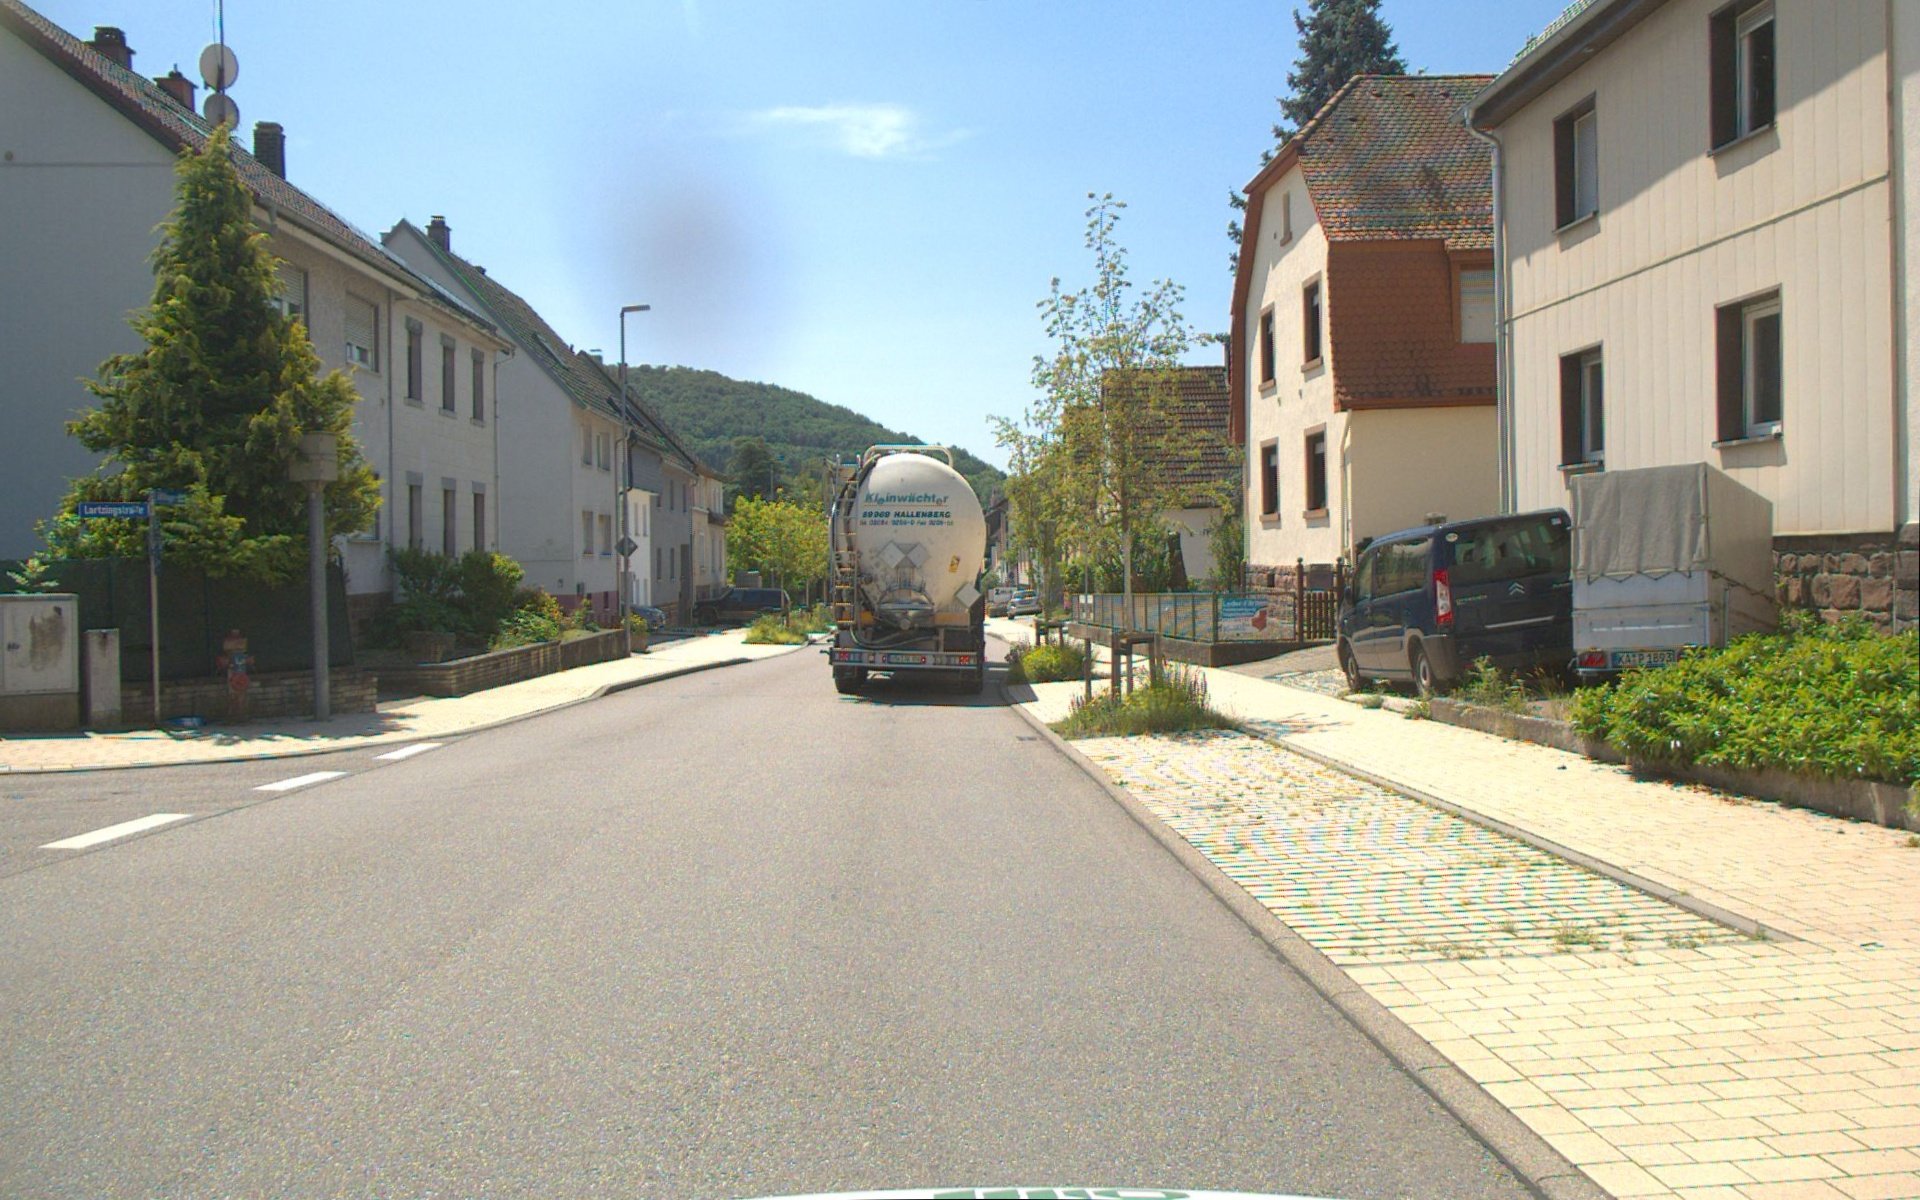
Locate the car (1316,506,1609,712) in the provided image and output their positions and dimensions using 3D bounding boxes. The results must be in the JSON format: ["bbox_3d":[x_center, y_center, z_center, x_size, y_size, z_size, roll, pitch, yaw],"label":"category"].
[{"bbox_3d":[5.774,0.095,19.701,1.815,2.005,4.772,-5,0,-1],"label":"car"}]

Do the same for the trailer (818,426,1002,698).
[{"bbox_3d":[-0.831,-0.576,30.052,2.739,4.071,10.321,0,0,-1],"label":"trailer"}]

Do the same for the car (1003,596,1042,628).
[{"bbox_3d":[3.293,0.621,88.062,1.754,1.568,4.519,-3,0,-1],"label":"car"}]

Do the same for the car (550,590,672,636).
[{"bbox_3d":[-12.271,0.431,58.290,3.906,1.572,1.832,0,0,-2],"label":"car"}]

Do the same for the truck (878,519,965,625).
[{"bbox_3d":[-2.081,-1.383,84.340,3.833,4.981,9.787,-2,0,-4],"label":"truck"}]

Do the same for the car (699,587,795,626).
[{"bbox_3d":[-9.889,0.280,77.065,4.307,1.781,1.877,0,0,-3],"label":"car"}]

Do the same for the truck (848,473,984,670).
[{"bbox_3d":[-0.877,-0.589,36.778,2.751,4.006,6.099,0,0,0],"label":"truck"}]

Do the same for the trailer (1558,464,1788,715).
[{"bbox_3d":[6.398,-0.085,14.768,1.300,2.049,2.261,0,0,40],"label":"trailer"}]

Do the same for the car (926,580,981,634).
[{"bbox_3d":[-0.267,0.265,61.705,1.953,1.937,3.999,0,0,-1],"label":"car"}]
